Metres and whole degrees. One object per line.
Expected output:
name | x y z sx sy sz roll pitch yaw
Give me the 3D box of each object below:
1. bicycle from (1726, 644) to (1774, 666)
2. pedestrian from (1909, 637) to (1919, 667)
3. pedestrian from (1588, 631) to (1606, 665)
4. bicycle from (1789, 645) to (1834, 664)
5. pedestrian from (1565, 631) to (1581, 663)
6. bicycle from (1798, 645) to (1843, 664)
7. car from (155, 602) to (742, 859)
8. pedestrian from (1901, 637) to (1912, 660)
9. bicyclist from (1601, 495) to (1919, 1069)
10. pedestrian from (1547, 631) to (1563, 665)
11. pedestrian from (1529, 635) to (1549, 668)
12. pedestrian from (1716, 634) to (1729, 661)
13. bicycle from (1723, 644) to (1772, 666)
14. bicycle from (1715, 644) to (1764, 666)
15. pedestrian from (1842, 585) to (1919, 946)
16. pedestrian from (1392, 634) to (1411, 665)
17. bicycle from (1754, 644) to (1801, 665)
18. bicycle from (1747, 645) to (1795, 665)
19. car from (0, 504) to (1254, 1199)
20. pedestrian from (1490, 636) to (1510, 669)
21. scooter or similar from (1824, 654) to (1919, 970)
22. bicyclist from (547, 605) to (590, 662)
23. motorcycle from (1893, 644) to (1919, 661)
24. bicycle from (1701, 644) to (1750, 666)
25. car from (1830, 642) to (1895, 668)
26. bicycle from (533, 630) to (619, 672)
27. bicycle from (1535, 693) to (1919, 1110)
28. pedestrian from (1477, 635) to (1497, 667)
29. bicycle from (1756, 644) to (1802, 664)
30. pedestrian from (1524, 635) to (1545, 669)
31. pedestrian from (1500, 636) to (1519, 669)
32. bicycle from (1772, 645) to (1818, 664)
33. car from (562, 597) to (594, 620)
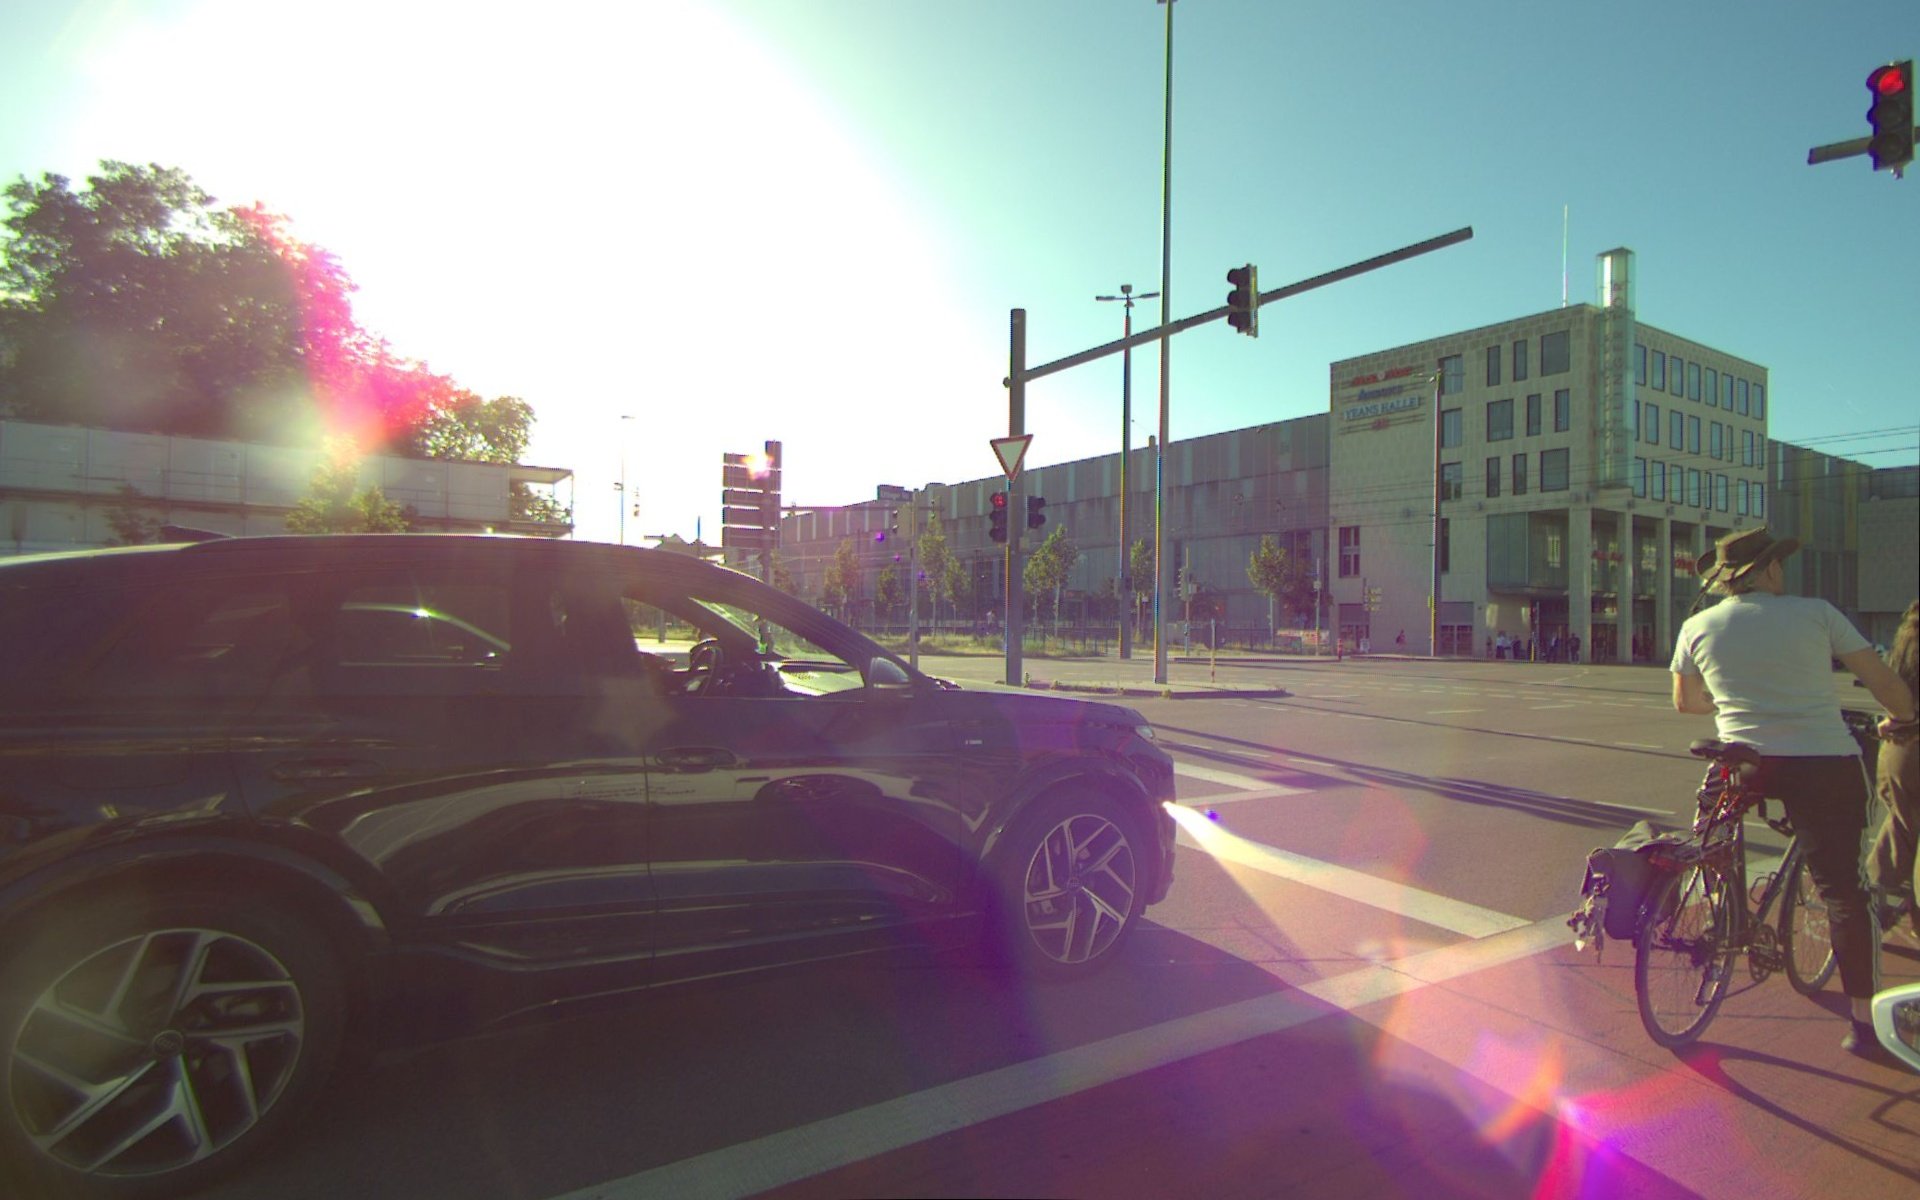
bicycle | 48.696 3.383 61.958 0.605 1.238 2.295 1 -1 -31
pedestrian | 56.417 3.060 59.175 0.639 1.742 0.449 0 -1 37
pedestrian | 35.871 2.692 56.582 0.784 1.868 0.863 0 -1 28
bicycle | 58.851 3.727 69.426 0.605 1.238 2.295 1 -1 -31
pedestrian | 35.629 2.729 58.423 0.784 1.868 0.862 0 -1 32
bicycle | 59.823 3.759 69.851 0.605 1.238 2.295 1 -1 -31
car | -3.588 0.796 7.496 3.562 1.505 1.485 1 0 -30
pedestrian | 71.097 3.662 75.453 0.579 1.702 0.516 1 1 -43
bicyclist | 2.866 0.562 3.553 0.856 1.743 0.657 2 0 -30
pedestrian | 34.335 2.744 57.974 0.705 1.910 0.785 2 0 33
pedestrian | 34.406 3.043 59.688 0.710 1.910 0.779 2 0 -36
pedestrian | 49.879 3.102 65.722 0.602 1.702 0.549 1 1 -40
bicycle | 48.046 3.361 61.336 0.605 1.238 2.295 1 -1 -31
bicycle | 46.963 3.324 60.526 0.605 1.238 2.295 1 -1 -31
pedestrian | 4.630 0.767 4.806 0.568 1.654 0.543 2 0 -45
pedestrian | 29.411 3.282 66.979 0.767 2.040 0.876 2 0 -41
bicycle | 52.901 3.526 65.017 0.605 1.238 2.295 1 -1 -31
bicycle | 51.276 3.469 63.549 0.605 1.238 2.295 1 -1 -31
car | -1.156 0.638 3.870 4.630 1.656 1.760 1 0 -32
pedestrian | 32.161 3.128 59.867 0.710 1.910 0.779 2 0 -36
scooter or similar | 4.489 0.931 4.714 1.186 1.311 0.541 2 0 -45
bicyclist | -14.524 1.221 37.304 1.078 2.040 0.962 2 0 13
motorcycle | 70.738 3.898 74.853 0.508 1.223 1.786 1 0 -44
bicycle | 45.761 3.285 60.081 0.605 1.238 2.295 1 -1 -31
car | 49.782 3.059 55.408 3.956 1.359 1.621 2 -4 -32
bicycle | -14.202 1.866 37.207 2.905 1.388 0.970 2 0 13
bicycle | 2.876 0.967 3.679 1.810 1.171 0.482 2 0 -31
pedestrian | 32.277 3.107 61.521 0.710 1.910 0.779 2 0 -36
bicycle | 54.280 3.575 66.565 0.605 1.238 2.295 1 -1 -31
pedestrian | 33.396 3.006 58.375 0.710 1.910 0.779 2 0 -36
pedestrian | 33.206 3.164 60.657 0.780 1.910 0.709 2 0 -37
bicycle | 55.518 3.614 66.828 0.605 1.238 2.295 1 -1 -31
car | -32.937 0.736 86.513 1.785 1.908 3.964 2 0 -33
